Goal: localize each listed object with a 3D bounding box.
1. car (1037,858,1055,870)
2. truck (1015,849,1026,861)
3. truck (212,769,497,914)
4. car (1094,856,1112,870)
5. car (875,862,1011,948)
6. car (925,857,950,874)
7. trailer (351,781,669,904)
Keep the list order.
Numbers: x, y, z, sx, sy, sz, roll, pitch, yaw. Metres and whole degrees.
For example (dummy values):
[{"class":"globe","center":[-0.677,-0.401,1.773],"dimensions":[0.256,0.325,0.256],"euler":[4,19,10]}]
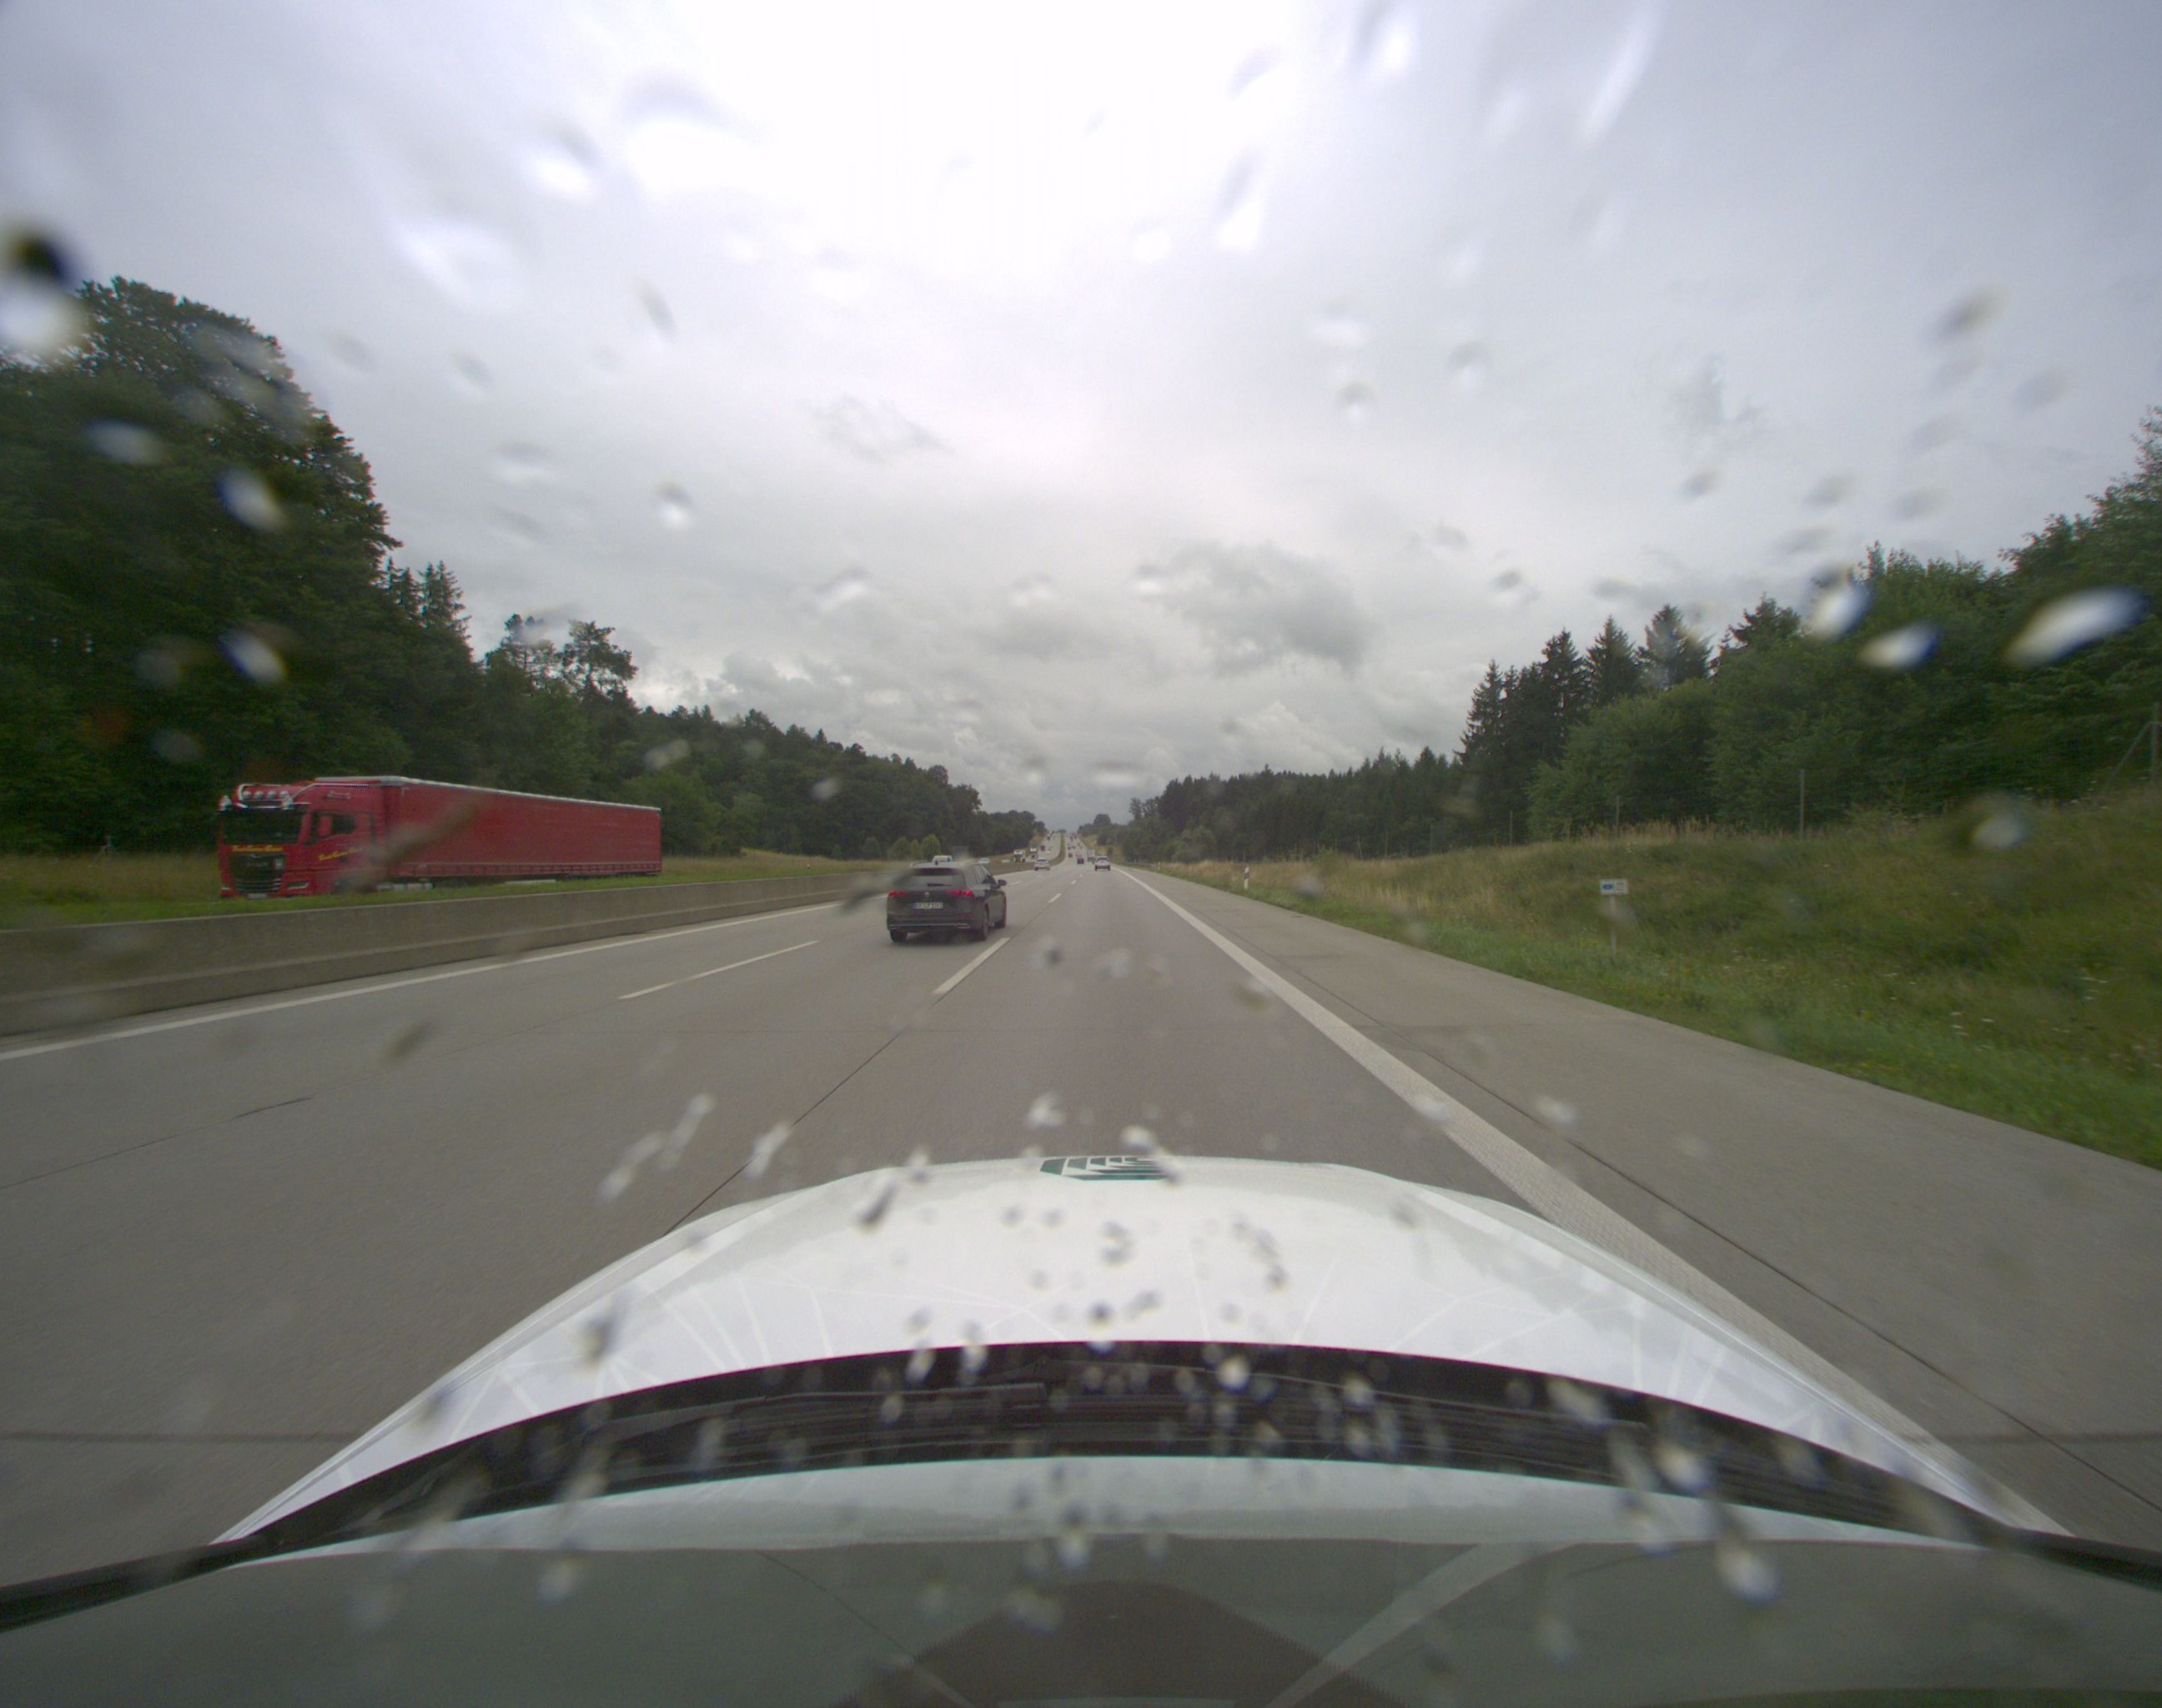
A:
[{"class":"car","center":[-4.345,1.248,102.268],"dimensions":[1.940,1.356,4.262],"euler":[0,0,2]},{"class":"truck","center":[-19.273,0.414,259.310],"dimensions":[2.804,3.773,11.349],"euler":[0,0,0]},{"class":"truck","center":[-22.217,-0.355,25.569],"dimensions":[2.543,3.928,6.949],"euler":[0,0,2]},{"class":"car","center":[2.592,1.035,94.898],"dimensions":[1.821,1.655,3.981],"euler":[0,0,-3]},{"class":"car","center":[-2.524,0.886,15.957],"dimensions":[1.746,1.398,4.486],"euler":[0,0,2]},{"class":"car","center":[-16.687,1.292,94.827],"dimensions":[1.988,1.956,5.623],"euler":[0,0,-2]},{"class":"trailer","center":[-22.006,-0.372,33.398],"dimensions":[2.598,3.944,14.383],"euler":[0,0,1]}]
